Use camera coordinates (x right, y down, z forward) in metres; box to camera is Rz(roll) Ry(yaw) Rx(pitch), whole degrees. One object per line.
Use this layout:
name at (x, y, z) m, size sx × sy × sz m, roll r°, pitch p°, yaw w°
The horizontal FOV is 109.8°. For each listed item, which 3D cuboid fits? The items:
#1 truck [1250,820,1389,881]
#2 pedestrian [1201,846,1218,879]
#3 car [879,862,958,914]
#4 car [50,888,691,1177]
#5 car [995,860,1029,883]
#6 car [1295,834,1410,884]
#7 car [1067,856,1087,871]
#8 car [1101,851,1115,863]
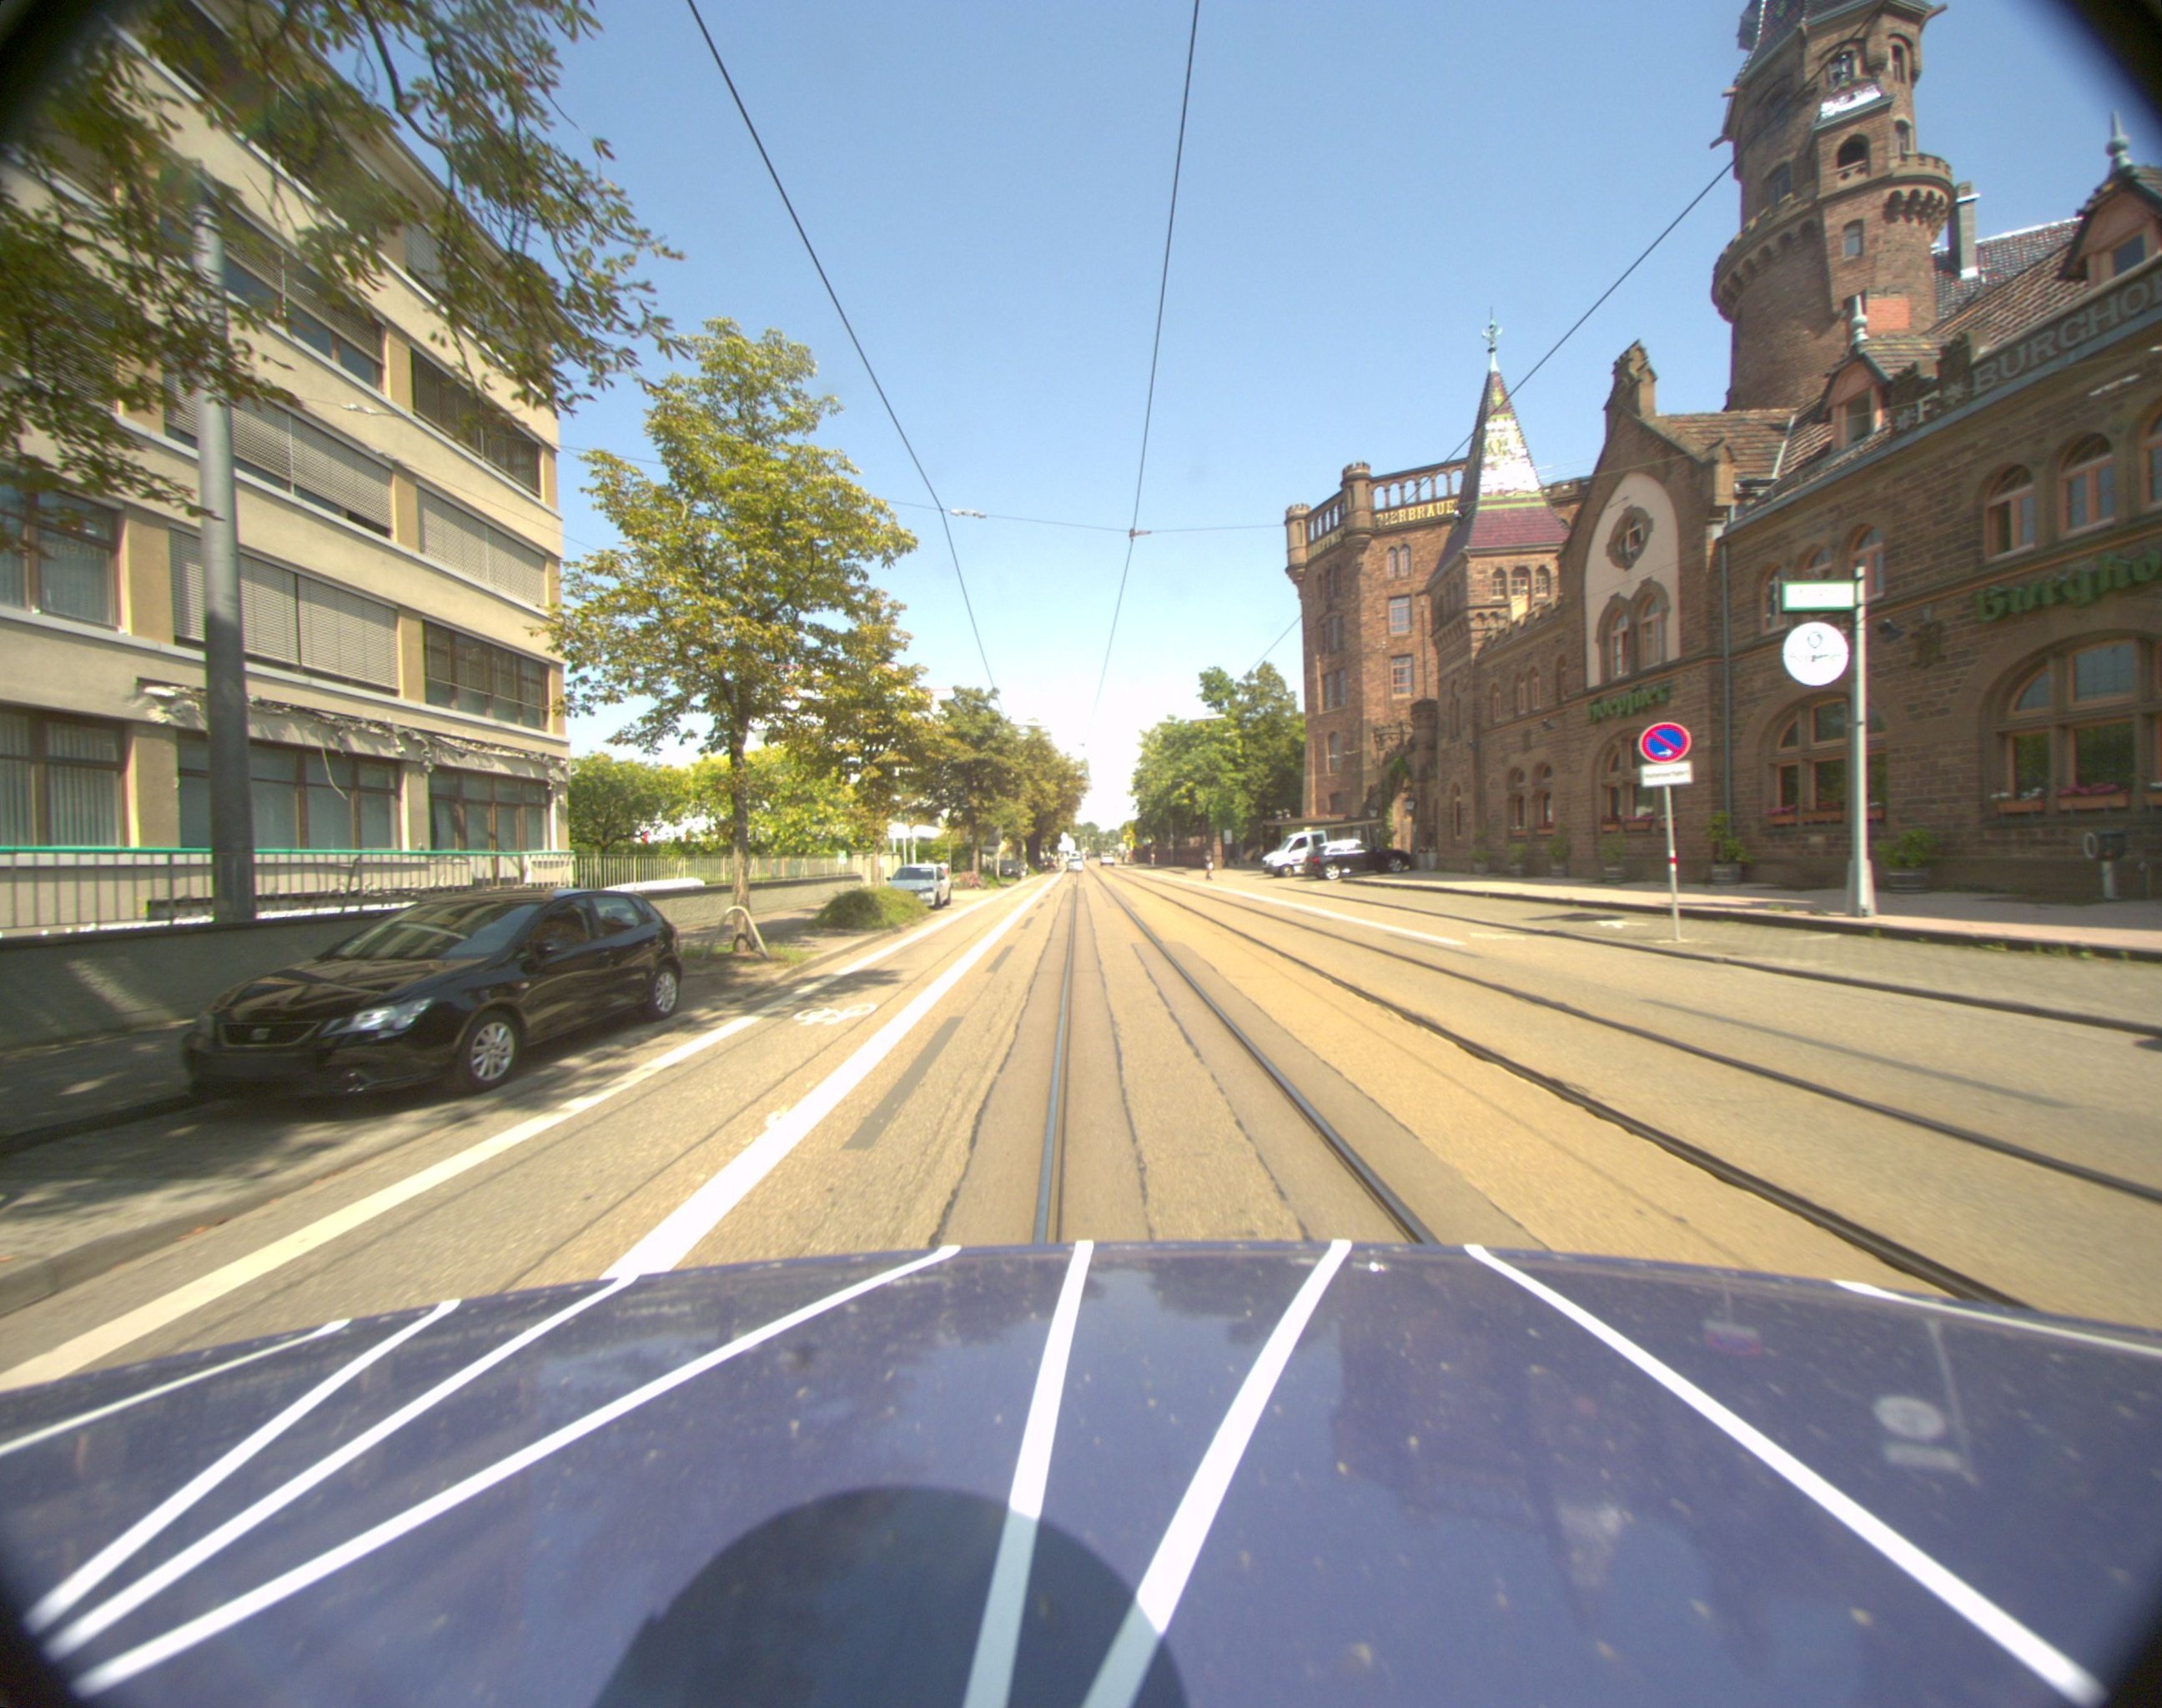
truck at (12.708, -0.174, 40.785) m, size 6.510 × 2.510 × 2.317 m, roll -6°, pitch 0°, yaw 0°
pedestrian at (7.239, 0.488, 42.873) m, size 0.736 × 1.837 × 0.828 m, roll -2°, pitch 1°, yaw 1°
car at (-5.237, 1.062, 24.990) m, size 1.642 × 1.464 × 3.878 m, roll -2°, pitch 0°, yaw 1°
car at (-5.085, 1.118, 6.348) m, size 1.642 × 1.464 × 3.993 m, roll 1°, pitch 0°, yaw -1°
car at (-5.001, 1.244, 55.313) m, size 1.998 × 1.521 × 4.000 m, roll -2°, pitch 0°, yaw 1°
car at (12.320, 0.217, 34.708) m, size 4.407 × 1.787 × 2.000 m, roll -6°, pitch 0°, yaw 2°
car at (-0.372, 0.940, 77.024) m, size 1.824 × 1.483 × 4.019 m, roll -2°, pitch 0°, yaw 1°
car at (3.978, 0.447, 112.337) m, size 1.998 × 1.783 × 4.000 m, roll -2°, pitch 0°, yaw 1°
